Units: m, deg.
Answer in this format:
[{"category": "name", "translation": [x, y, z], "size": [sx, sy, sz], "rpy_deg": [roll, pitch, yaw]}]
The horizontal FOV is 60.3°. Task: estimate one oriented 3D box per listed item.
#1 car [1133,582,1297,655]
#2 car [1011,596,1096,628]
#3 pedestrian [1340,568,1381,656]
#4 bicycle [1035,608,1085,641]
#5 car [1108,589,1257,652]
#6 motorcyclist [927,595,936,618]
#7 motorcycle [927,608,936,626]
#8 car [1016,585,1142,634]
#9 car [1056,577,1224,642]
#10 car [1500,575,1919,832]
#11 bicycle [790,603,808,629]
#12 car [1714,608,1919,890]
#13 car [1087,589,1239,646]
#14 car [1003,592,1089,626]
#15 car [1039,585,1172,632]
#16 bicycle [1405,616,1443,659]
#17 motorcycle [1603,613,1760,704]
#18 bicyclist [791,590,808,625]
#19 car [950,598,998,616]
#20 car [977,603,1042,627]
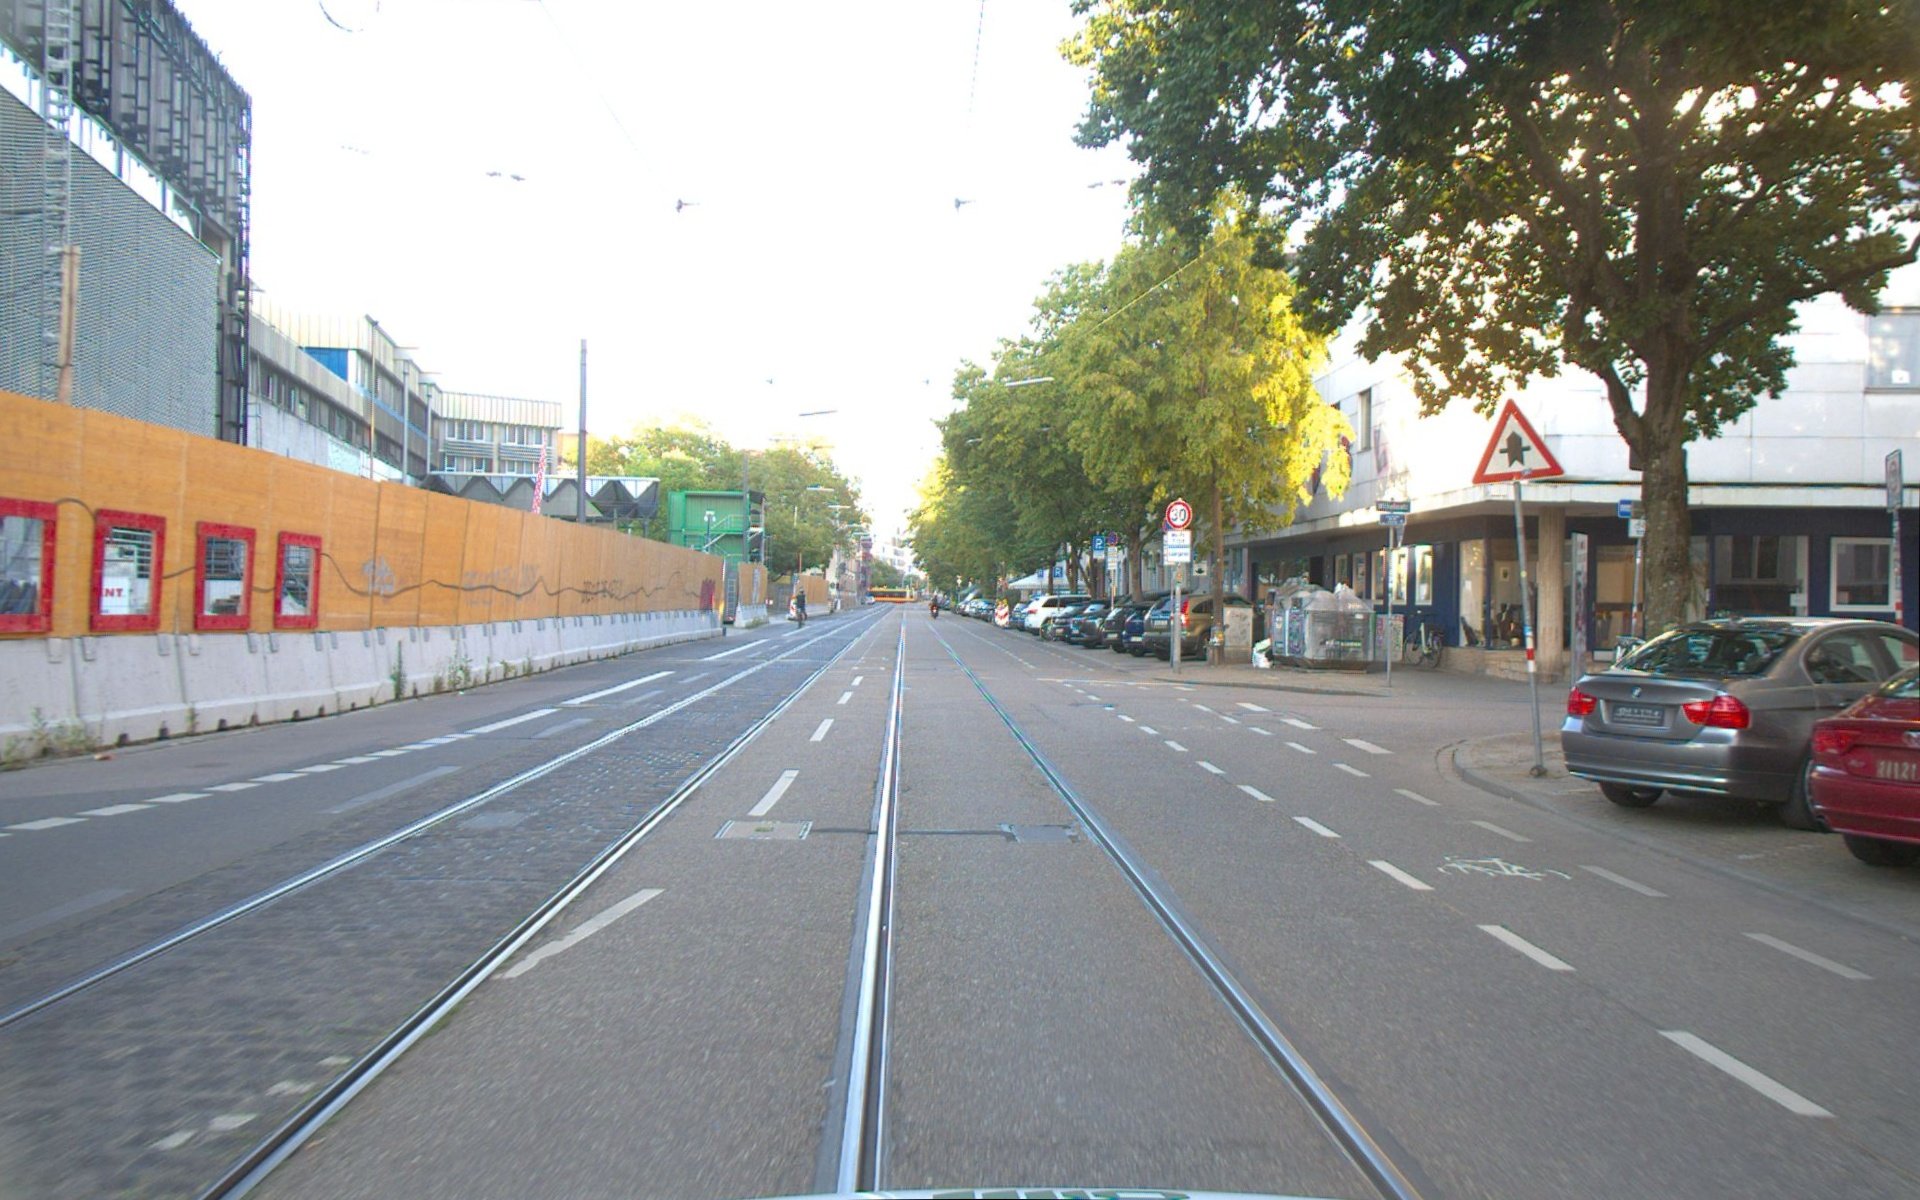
[{"category": "car", "translation": [6.661, 0.461, 43.010], "size": [4.123, 1.693, 1.818], "rpy_deg": [-3, 0, -37]}, {"category": "car", "translation": [4.461, 0.563, 78.814], "size": [3.728, 1.432, 1.691], "rpy_deg": [-1, 0, -28]}, {"category": "pedestrian", "translation": [9.389, 0.272, 38.790], "size": [0.678, 2.020, 0.785], "rpy_deg": [-2, 0, -2]}, {"category": "bicycle", "translation": [3.782, 0.924, 62.569], "size": [1.805, 1.122, 0.496], "rpy_deg": [-3, 0, -16]}, {"category": "car", "translation": [6.213, 0.559, 46.009], "size": [3.846, 1.528, 1.793], "rpy_deg": [-3, 0, -33]}, {"category": "motorcyclist", "translation": [-2.139, 0.498, 124.316], "size": [0.632, 1.727, 1.025], "rpy_deg": [1, -1, -3]}, {"category": "motorcycle", "translation": [-2.135, 1.287, 124.250], "size": [0.632, 1.393, 1.811], "rpy_deg": [1, -1, -3]}, {"category": "car", "translation": [4.623, 0.379, 64.625], "size": [4.560, 1.717, 2.005], "rpy_deg": [-2, 0, -7]}, {"category": "car", "translation": [5.787, 0.297, 53.158], "size": [4.892, 1.858, 2.195], "rpy_deg": [-2, 0, -20]}, {"category": "car", "translation": [6.314, 0.638, 12.717], "size": [4.558, 1.539, 1.838], "rpy_deg": [-2, 2, -37]}, {"category": "bicycle", "translation": [-7.756, 0.749, 79.698], "size": [0.752, 1.249, 1.935], "rpy_deg": [0, 0, -2]}, {"category": "car", "translation": [6.902, 0.774, 10.198], "size": [4.347, 1.470, 1.967], "rpy_deg": [-2, 0, -31]}, {"category": "car", "translation": [6.026, 0.501, 48.918], "size": [4.111, 1.490, 1.952], "rpy_deg": [-3, 0, -30]}, {"category": "car", "translation": [4.226, 0.430, 81.305], "size": [3.915, 1.580, 1.691], "rpy_deg": [-1, 0, -28]}, {"category": "car", "translation": [5.073, 0.299, 57.625], "size": [4.157, 1.451, 1.961], "rpy_deg": [-3, 0, -24]}, {"category": "bicycle", "translation": [10.087, 0.812, 35.996], "size": [0.334, 0.898, 1.325], "rpy_deg": [-2, 0, -4]}, {"category": "motorcycle", "translation": [11.788, 0.938, 27.099], "size": [2.047, 1.429, 1.291], "rpy_deg": [1, -1, 5]}, {"category": "bicyclist", "translation": [-7.745, 0.356, 79.685], "size": [0.752, 1.695, 1.017], "rpy_deg": [0, 0, -2]}, {"category": "car", "translation": [1.288, 0.587, 148.767], "size": [3.902, 1.512, 1.905], "rpy_deg": [-1, -1, -26]}, {"category": "car", "translation": [3.416, 1.017, 114.264], "size": [4.057, 1.496, 1.812], "rpy_deg": [-3, 0, -21]}]
